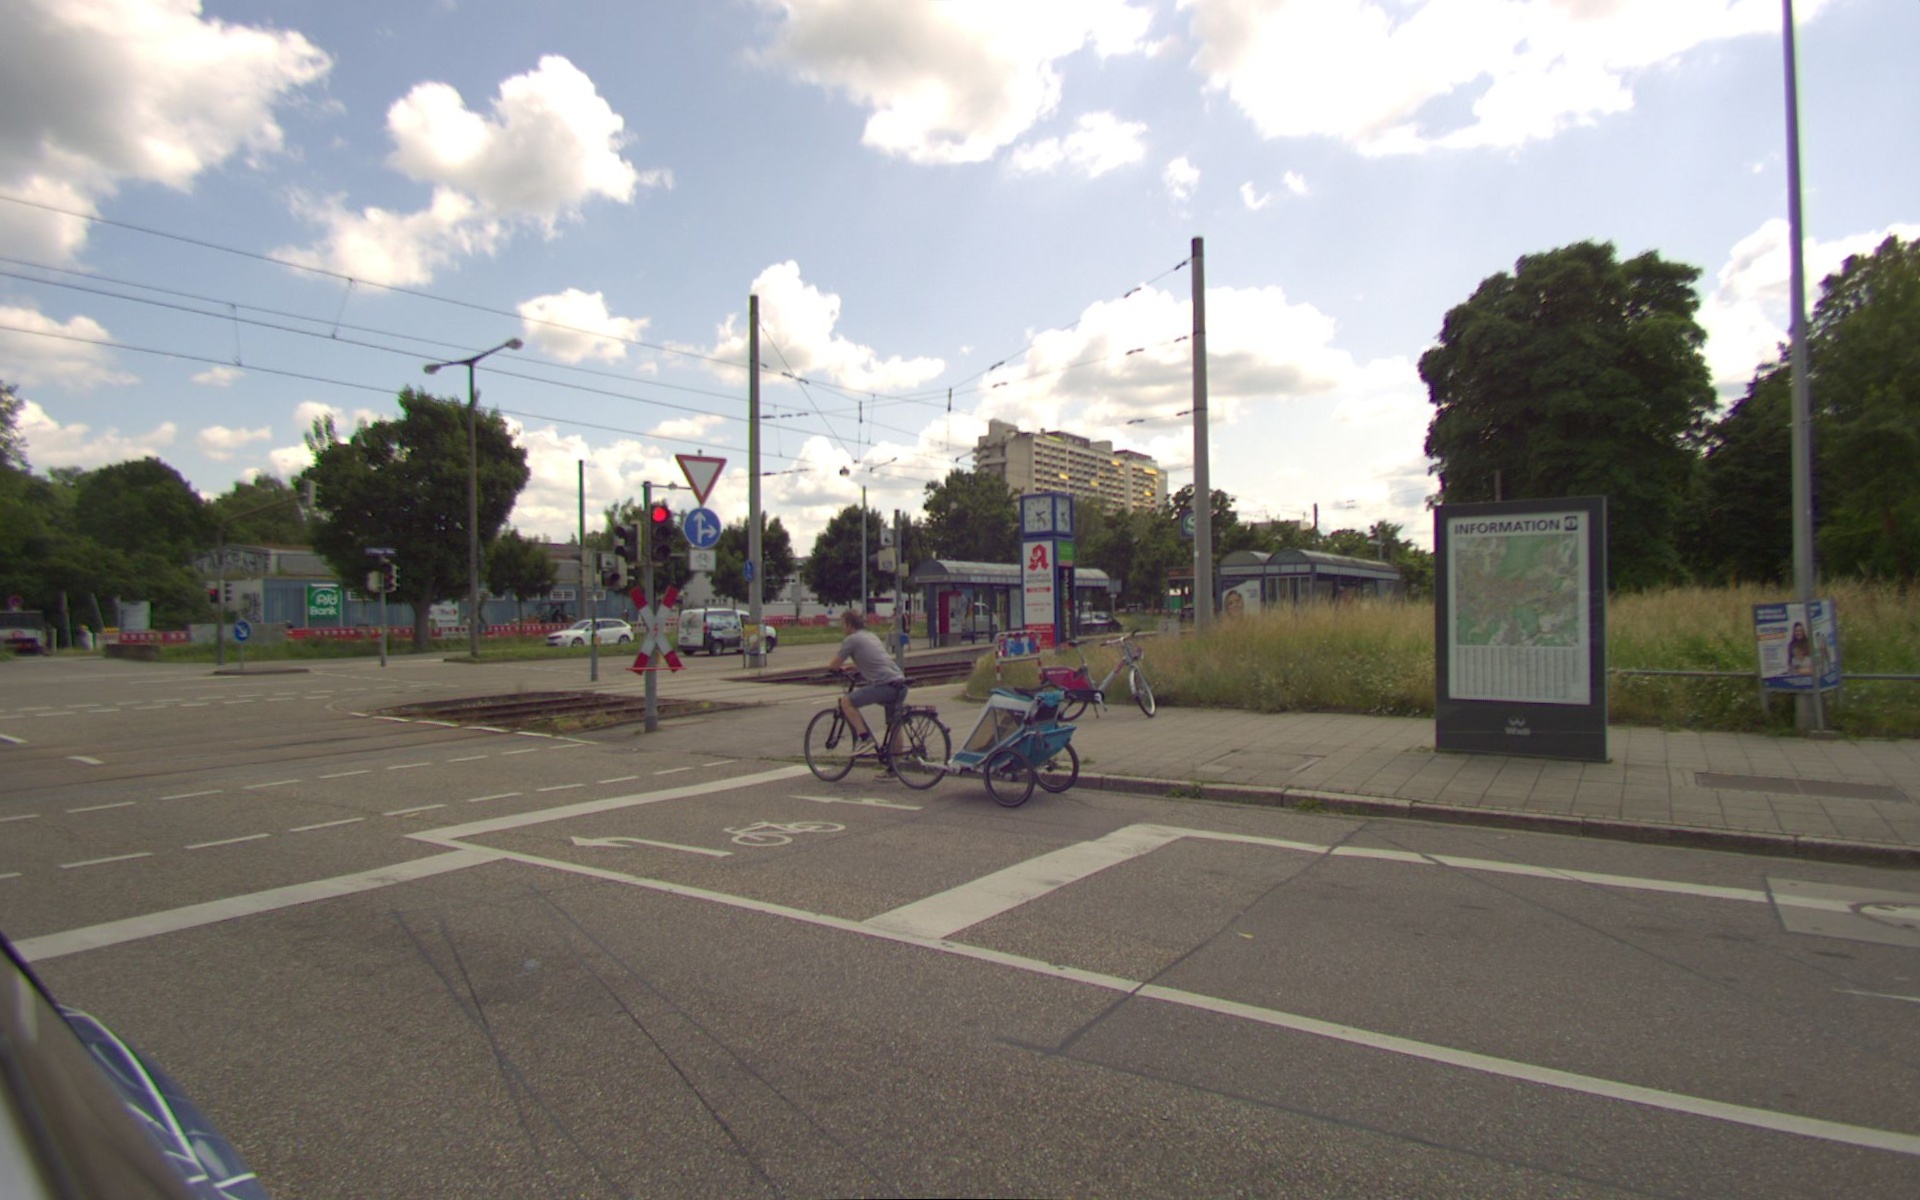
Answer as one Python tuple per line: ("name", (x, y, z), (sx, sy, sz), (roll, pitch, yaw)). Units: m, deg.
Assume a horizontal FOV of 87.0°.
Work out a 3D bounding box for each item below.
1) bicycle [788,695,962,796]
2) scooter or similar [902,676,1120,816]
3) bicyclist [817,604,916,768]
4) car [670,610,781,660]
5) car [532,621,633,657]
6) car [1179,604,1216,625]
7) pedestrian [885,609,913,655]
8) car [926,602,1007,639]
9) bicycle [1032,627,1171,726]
("bicycle", (-0.831, 1.342, 9.576), (1.725, 0.771, 0.548), (-1, -1, 37))
("scooter or similar", (0.423, 1.176, 8.583), (1.577, 0.987, 0.950), (-2, -2, 37))
("bicyclist", (-0.896, 0.790, 9.639), (0.840, 1.486, 0.450), (-2, -1, 37))
("car", (-9.055, 1.304, 39.397), (1.745, 1.799, 4.106), (0, 0, 36))
("car", (-17.842, 1.809, 47.980), (1.995, 1.515, 4.125), (0, 0, 34))
("car", (19.844, 1.205, 84.396), (1.785, 1.680, 4.293), (0, -1, 31))
("pedestrian", (-2.064, 1.084, 34.263), (0.652, 1.525, 0.712), (-2, -1, 26))
("car", (0.420, 1.098, 55.433), (1.815, 1.933, 5.170), (-2, -1, 35))
("bicycle", (1.801, 0.966, 13.043), (1.637, 1.141, 0.701), (-3, 0, 0))
